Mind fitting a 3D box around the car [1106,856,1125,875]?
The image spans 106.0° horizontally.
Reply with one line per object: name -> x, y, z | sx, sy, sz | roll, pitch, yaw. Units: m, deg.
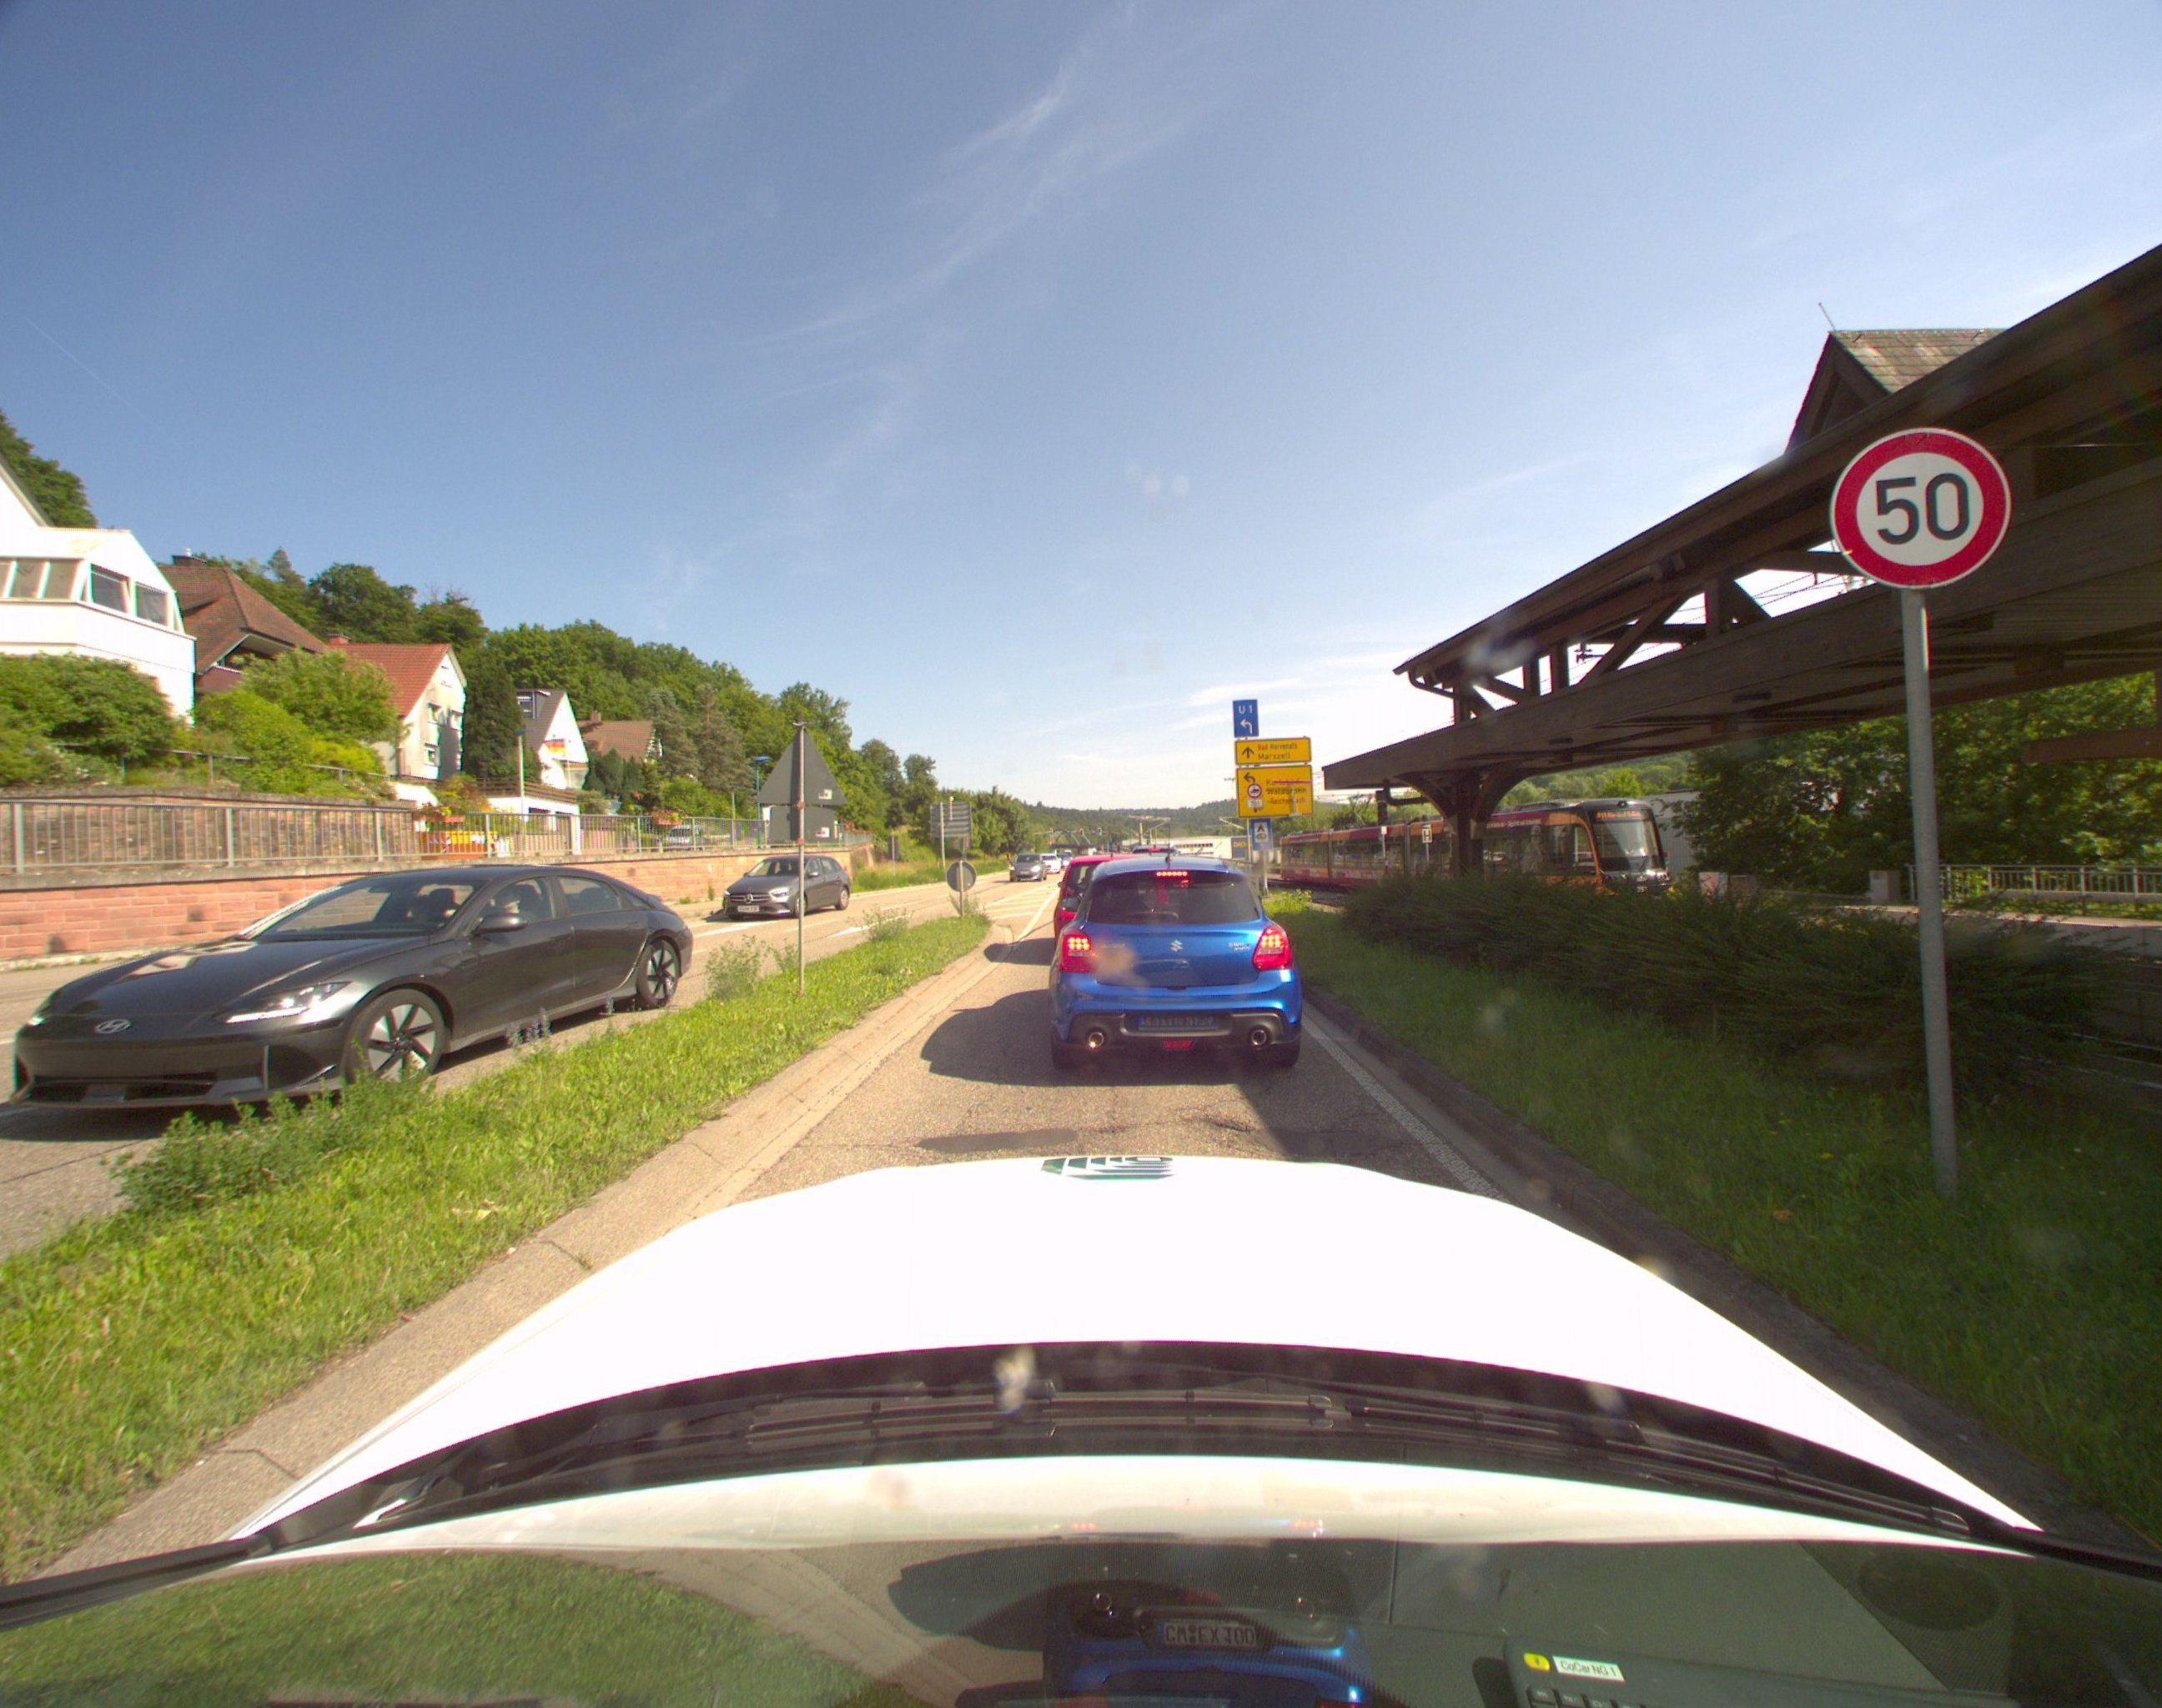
car -> 3.846, 1.252, 90.900 | 1.986, 2.013, 4.002 | 0, 1, 2

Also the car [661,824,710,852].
car -> -24.465, -0.976, 50.467 | 1.898, 1.629, 3.981 | -1, 0, -14

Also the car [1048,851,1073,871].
car -> -1.748, 0.592, 70.203 | 1.825, 1.468, 3.815 | 1, 2, 3

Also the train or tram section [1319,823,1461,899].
train or tram section -> 15.491, 0.344, 42.165 | 2.777, 3.364, 12.045 | 0, 0, 0

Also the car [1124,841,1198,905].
car -> 2.285, 0.489, 24.120 | 1.985, 1.686, 4.501 | 1, 0, 3

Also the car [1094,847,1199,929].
car -> 1.406, 0.646, 18.051 | 1.985, 1.531, 4.606 | -2, 0, 3

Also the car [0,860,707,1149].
car -> -5.174, 0.825, 6.706 | 1.784, 1.470, 4.719 | -1, 0, 3

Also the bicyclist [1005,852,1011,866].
bicyclist -> -7.451, 0.511, 83.228 | 0.627, 1.507, 0.506 | 0, 1, -2

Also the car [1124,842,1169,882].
car -> 3.020, 0.340, 38.166 | 1.985, 1.736, 4.004 | 1, 0, 3

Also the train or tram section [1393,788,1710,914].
train or tram section -> 15.451, -0.100, 29.141 | 2.847, 3.365, 14.348 | -1, 0, -1

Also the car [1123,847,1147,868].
car -> 4.239, 0.265, 63.713 | 1.824, 1.493, 3.815 | 1, 1, 4

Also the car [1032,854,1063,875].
car -> -2.338, 0.719, 58.447 | 1.825, 1.369, 3.953 | 0, 1, 3

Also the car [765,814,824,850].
car -> -16.106, -1.239, 46.094 | 2.017, 1.920, 4.724 | 0, 1, -5

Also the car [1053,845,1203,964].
car -> 0.737, 0.674, 12.795 | 1.985, 1.571, 4.004 | 0, 0, 3

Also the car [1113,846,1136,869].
car -> 4.019, 0.295, 75.591 | 1.986, 2.013, 4.002 | 0, 1, 2

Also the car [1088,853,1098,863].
car -> 2.519, 0.829, 173.247 | 1.986, 1.816, 4.002 | 0, 1, 2

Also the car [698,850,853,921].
car -> -7.596, 0.711, 20.808 | 1.985, 1.564, 4.514 | -1, 0, 4

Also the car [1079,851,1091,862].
car -> 0.764, 0.394, 140.401 | 1.986, 1.783, 4.002 | 0, 0, 2

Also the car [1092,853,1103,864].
car -> 3.090, 0.776, 153.062 | 1.986, 2.013, 4.002 | 0, 1, 2

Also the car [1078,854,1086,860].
car -> 0.336, 0.850, 226.961 | 1.986, 1.739, 4.002 | 0, 1, 2

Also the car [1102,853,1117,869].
car -> 3.817, 0.904, 109.395 | 1.986, 2.013, 4.002 | 0, 1, 2

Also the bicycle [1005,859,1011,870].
bicycle -> -7.454, 1.040, 83.242 | 0.564, 1.043, 1.551 | 0, 1, -1

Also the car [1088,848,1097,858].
car -> 2.748, -0.254, 192.800 | 1.986, 2.144, 4.722 | 0, 0, 2

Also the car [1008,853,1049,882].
car -> -2.727, 0.663, 43.043 | 1.665, 1.441, 3.843 | -1, 0, 3

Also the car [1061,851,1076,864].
car -> -1.800, 0.465, 115.237 | 1.825, 1.713, 3.814 | 1, 1, 3

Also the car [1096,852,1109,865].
car -> 3.478, 0.737, 129.123 | 1.986, 2.013, 4.002 | 0, 1, 2

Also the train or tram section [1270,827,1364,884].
train or tram section -> 15.331, 0.046, 54.102 | 2.747, 3.364, 12.046 | 0, 1, 0

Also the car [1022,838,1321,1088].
car -> 0.610, 0.677, 7.124 | 1.862, 1.548, 4.001 | -1, 0, 1
